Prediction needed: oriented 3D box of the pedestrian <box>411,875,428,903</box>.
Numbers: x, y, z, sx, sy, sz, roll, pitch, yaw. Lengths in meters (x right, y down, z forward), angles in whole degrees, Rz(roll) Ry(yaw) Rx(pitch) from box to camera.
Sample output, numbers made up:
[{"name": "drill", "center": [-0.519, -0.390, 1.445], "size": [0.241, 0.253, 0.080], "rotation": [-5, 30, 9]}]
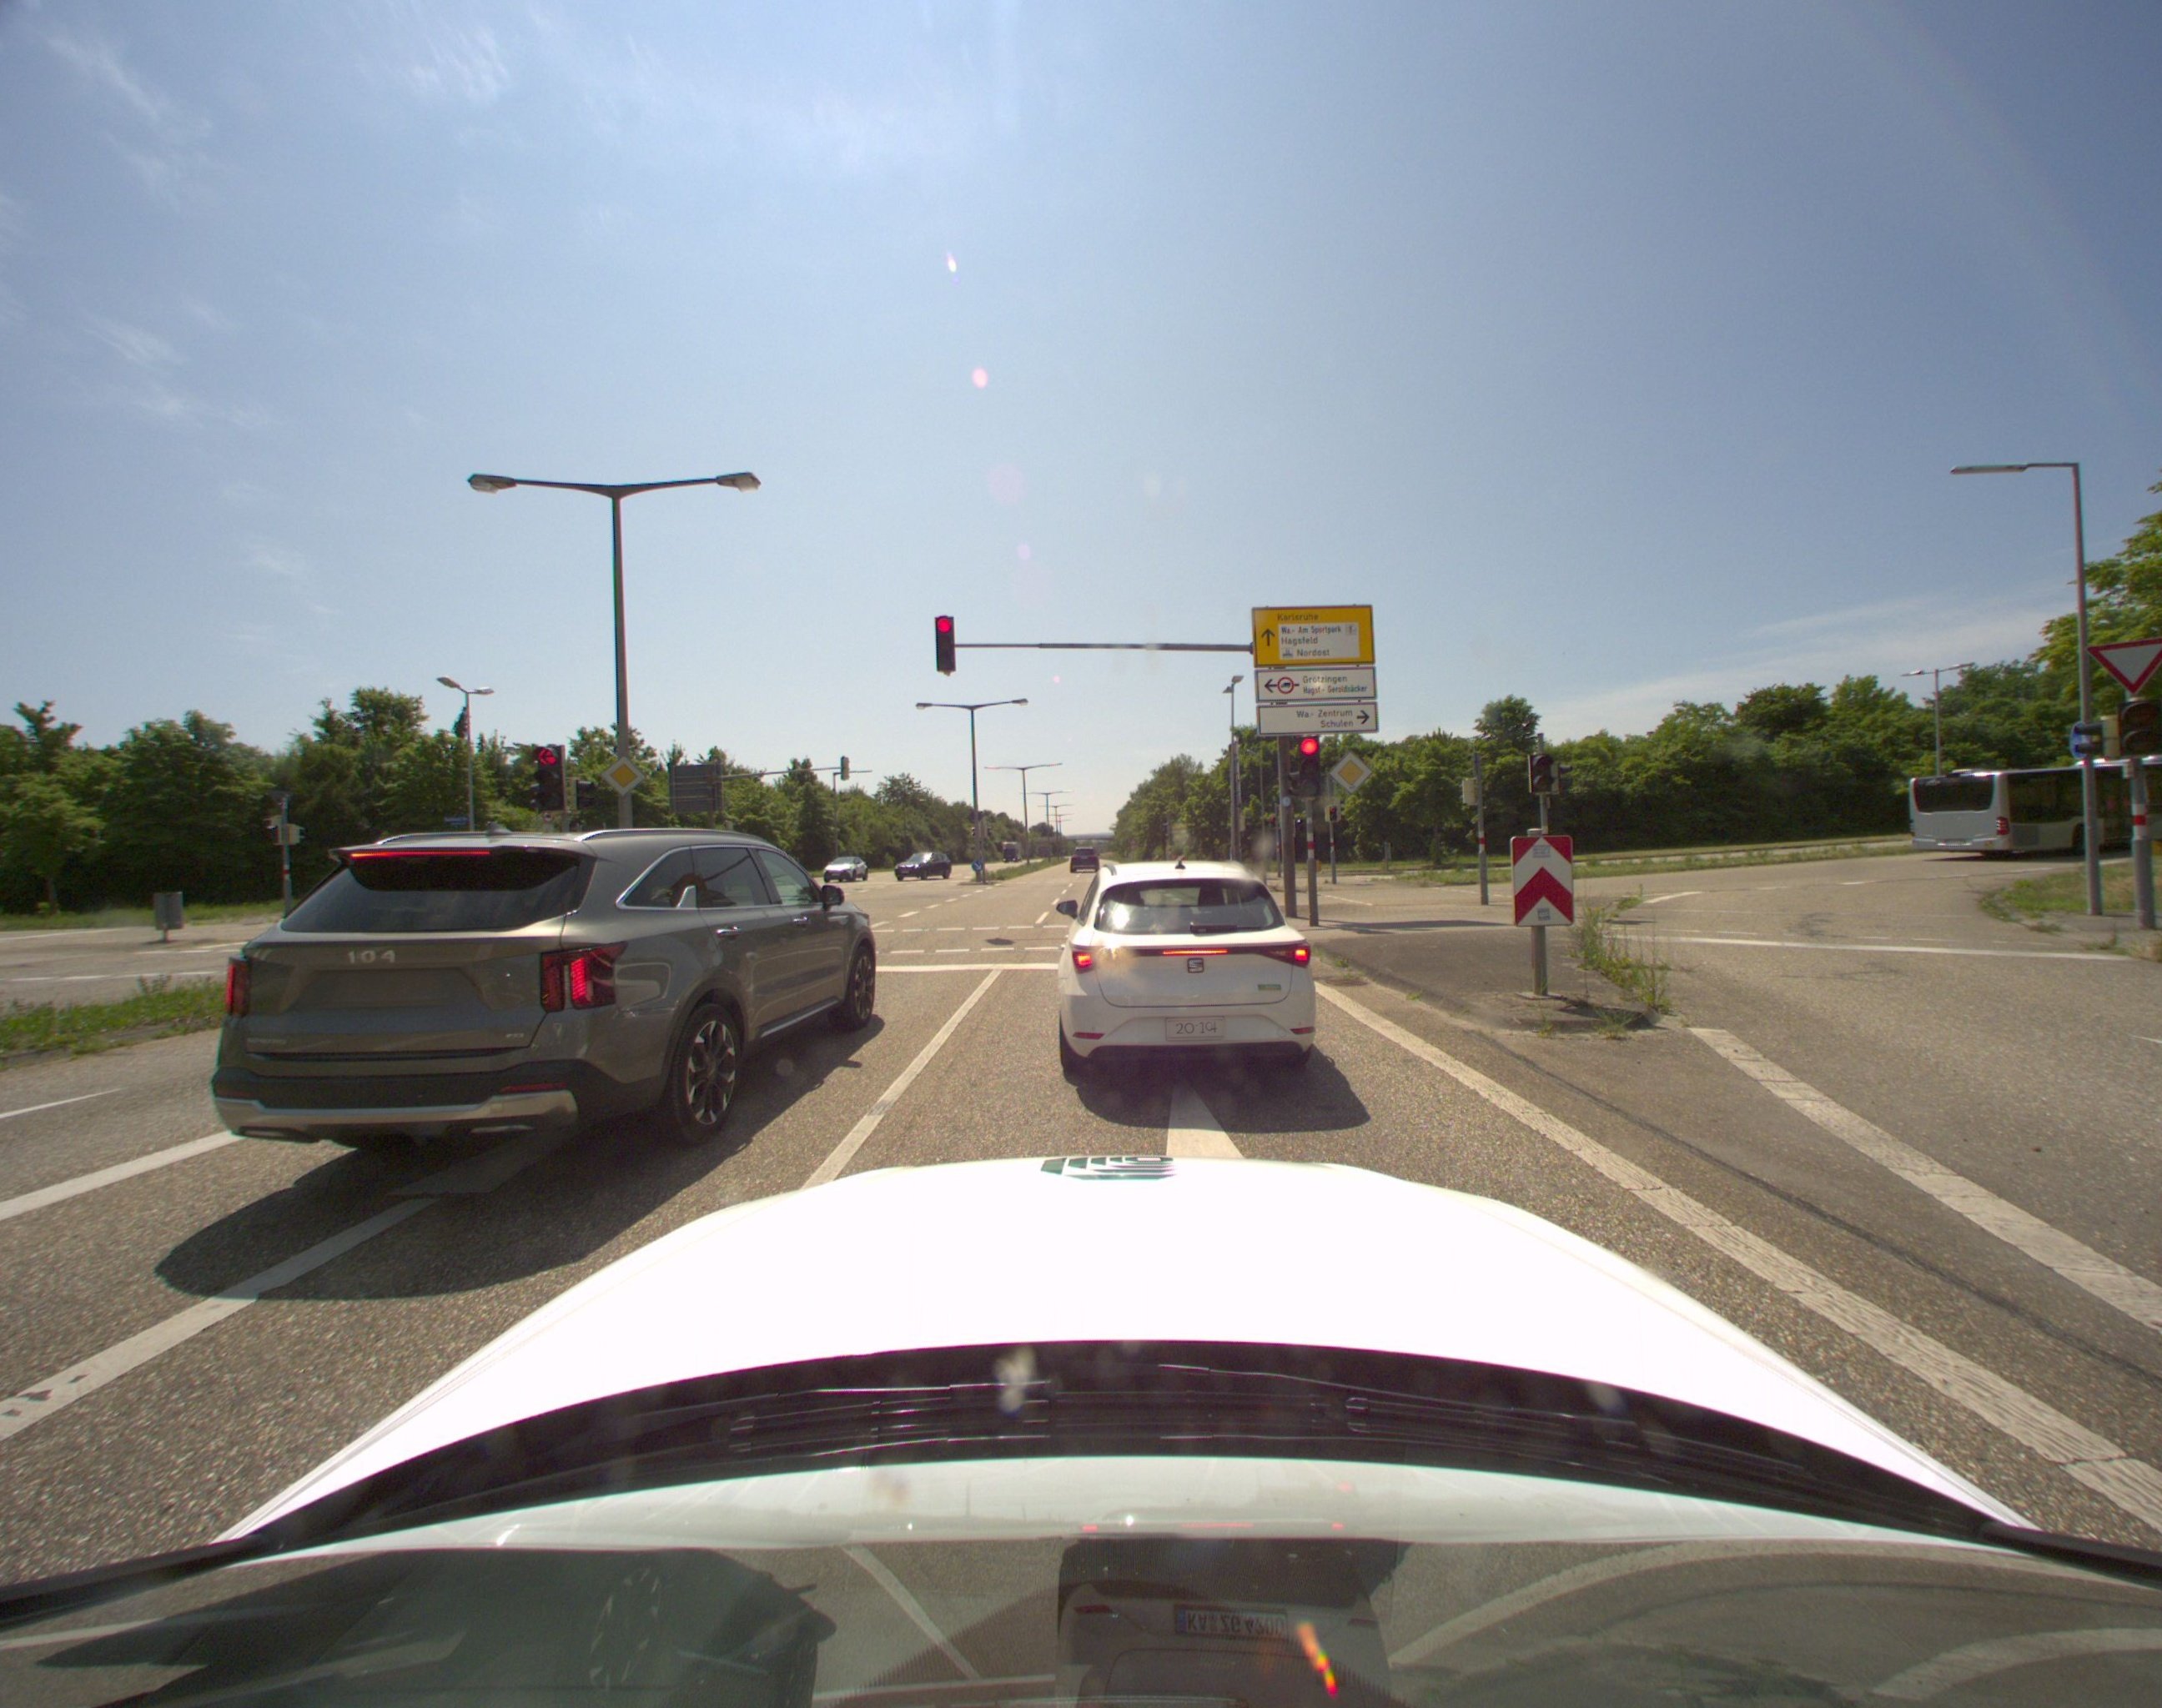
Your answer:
[{"name": "pedestrian", "center": [-36.647, 1.945, 45.152], "size": [0.620, 1.503, 0.790], "rotation": [-2, 0, -34]}]

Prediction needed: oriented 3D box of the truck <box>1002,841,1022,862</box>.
[{"name": "truck", "center": [-12.201, -0.399, 143.898], "size": [2.677, 3.570, 7.269], "rotation": [-2, 0, 1]}]

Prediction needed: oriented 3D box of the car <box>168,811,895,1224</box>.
[{"name": "car", "center": [-2.828, 0.683, 5.716], "size": [1.797, 1.662, 4.646], "rotation": [-2, 0, 2]}]

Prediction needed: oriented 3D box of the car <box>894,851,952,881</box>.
[{"name": "car", "center": [-9.771, 0.702, 50.652], "size": [1.693, 1.663, 4.242], "rotation": [-2, 0, 17]}]

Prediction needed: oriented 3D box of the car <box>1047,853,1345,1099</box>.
[{"name": "car", "center": [0.727, 0.727, 6.615], "size": [1.728, 1.428, 3.696], "rotation": [0, -1, 2]}]

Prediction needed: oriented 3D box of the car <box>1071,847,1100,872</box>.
[{"name": "car", "center": [0.352, 0.357, 59.427], "size": [1.847, 1.709, 4.004], "rotation": [-2, 0, 4]}]

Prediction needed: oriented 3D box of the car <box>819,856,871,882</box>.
[{"name": "car", "center": [-14.704, 0.925, 50.942], "size": [1.815, 1.455, 4.171], "rotation": [-2, 0, 2]}]

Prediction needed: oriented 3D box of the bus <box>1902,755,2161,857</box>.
[{"name": "bus", "center": [34.353, -1.676, 27.841], "size": [12.046, 3.086, 2.621], "rotation": [-2, 0, -11]}]

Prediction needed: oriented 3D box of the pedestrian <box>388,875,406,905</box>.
[{"name": "pedestrian", "center": [-37.502, 1.963, 44.677], "size": [0.620, 1.603, 0.790], "rotation": [-2, 0, -34]}]
